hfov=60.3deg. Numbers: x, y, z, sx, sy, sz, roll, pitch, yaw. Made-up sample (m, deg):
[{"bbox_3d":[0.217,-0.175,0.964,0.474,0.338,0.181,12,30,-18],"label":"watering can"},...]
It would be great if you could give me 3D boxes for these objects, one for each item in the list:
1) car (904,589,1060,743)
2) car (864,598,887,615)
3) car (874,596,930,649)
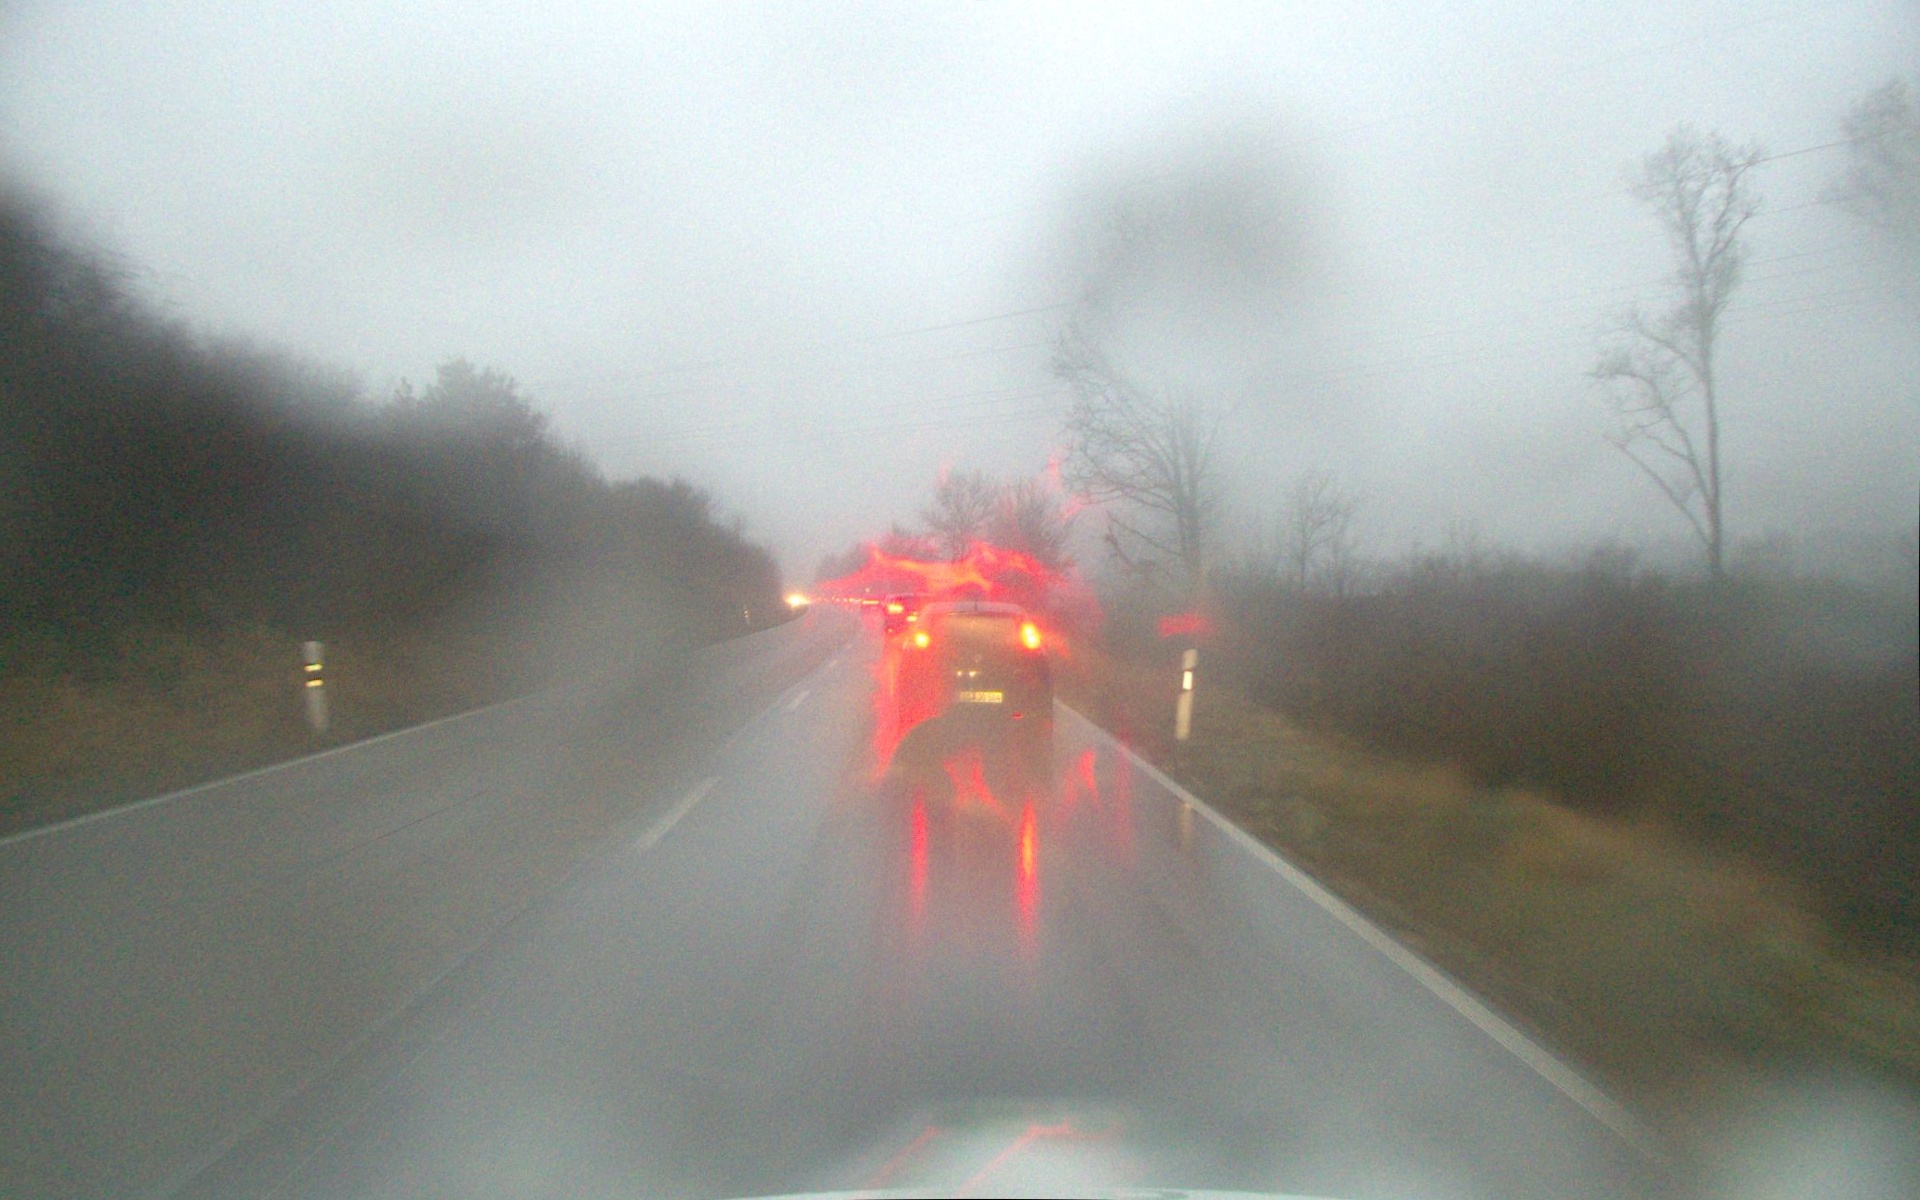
[{"bbox_3d":[0.177,0.668,18.787,1.570,1.549,3.868,1,0,-2],"label":"car"},{"bbox_3d":[-7.149,0.518,140.069,1.514,1.421,3.871,1,0,3],"label":"car"},{"bbox_3d":[-1.611,0.606,46.908,1.515,1.421,3.869,1,0,-1],"label":"car"}]
